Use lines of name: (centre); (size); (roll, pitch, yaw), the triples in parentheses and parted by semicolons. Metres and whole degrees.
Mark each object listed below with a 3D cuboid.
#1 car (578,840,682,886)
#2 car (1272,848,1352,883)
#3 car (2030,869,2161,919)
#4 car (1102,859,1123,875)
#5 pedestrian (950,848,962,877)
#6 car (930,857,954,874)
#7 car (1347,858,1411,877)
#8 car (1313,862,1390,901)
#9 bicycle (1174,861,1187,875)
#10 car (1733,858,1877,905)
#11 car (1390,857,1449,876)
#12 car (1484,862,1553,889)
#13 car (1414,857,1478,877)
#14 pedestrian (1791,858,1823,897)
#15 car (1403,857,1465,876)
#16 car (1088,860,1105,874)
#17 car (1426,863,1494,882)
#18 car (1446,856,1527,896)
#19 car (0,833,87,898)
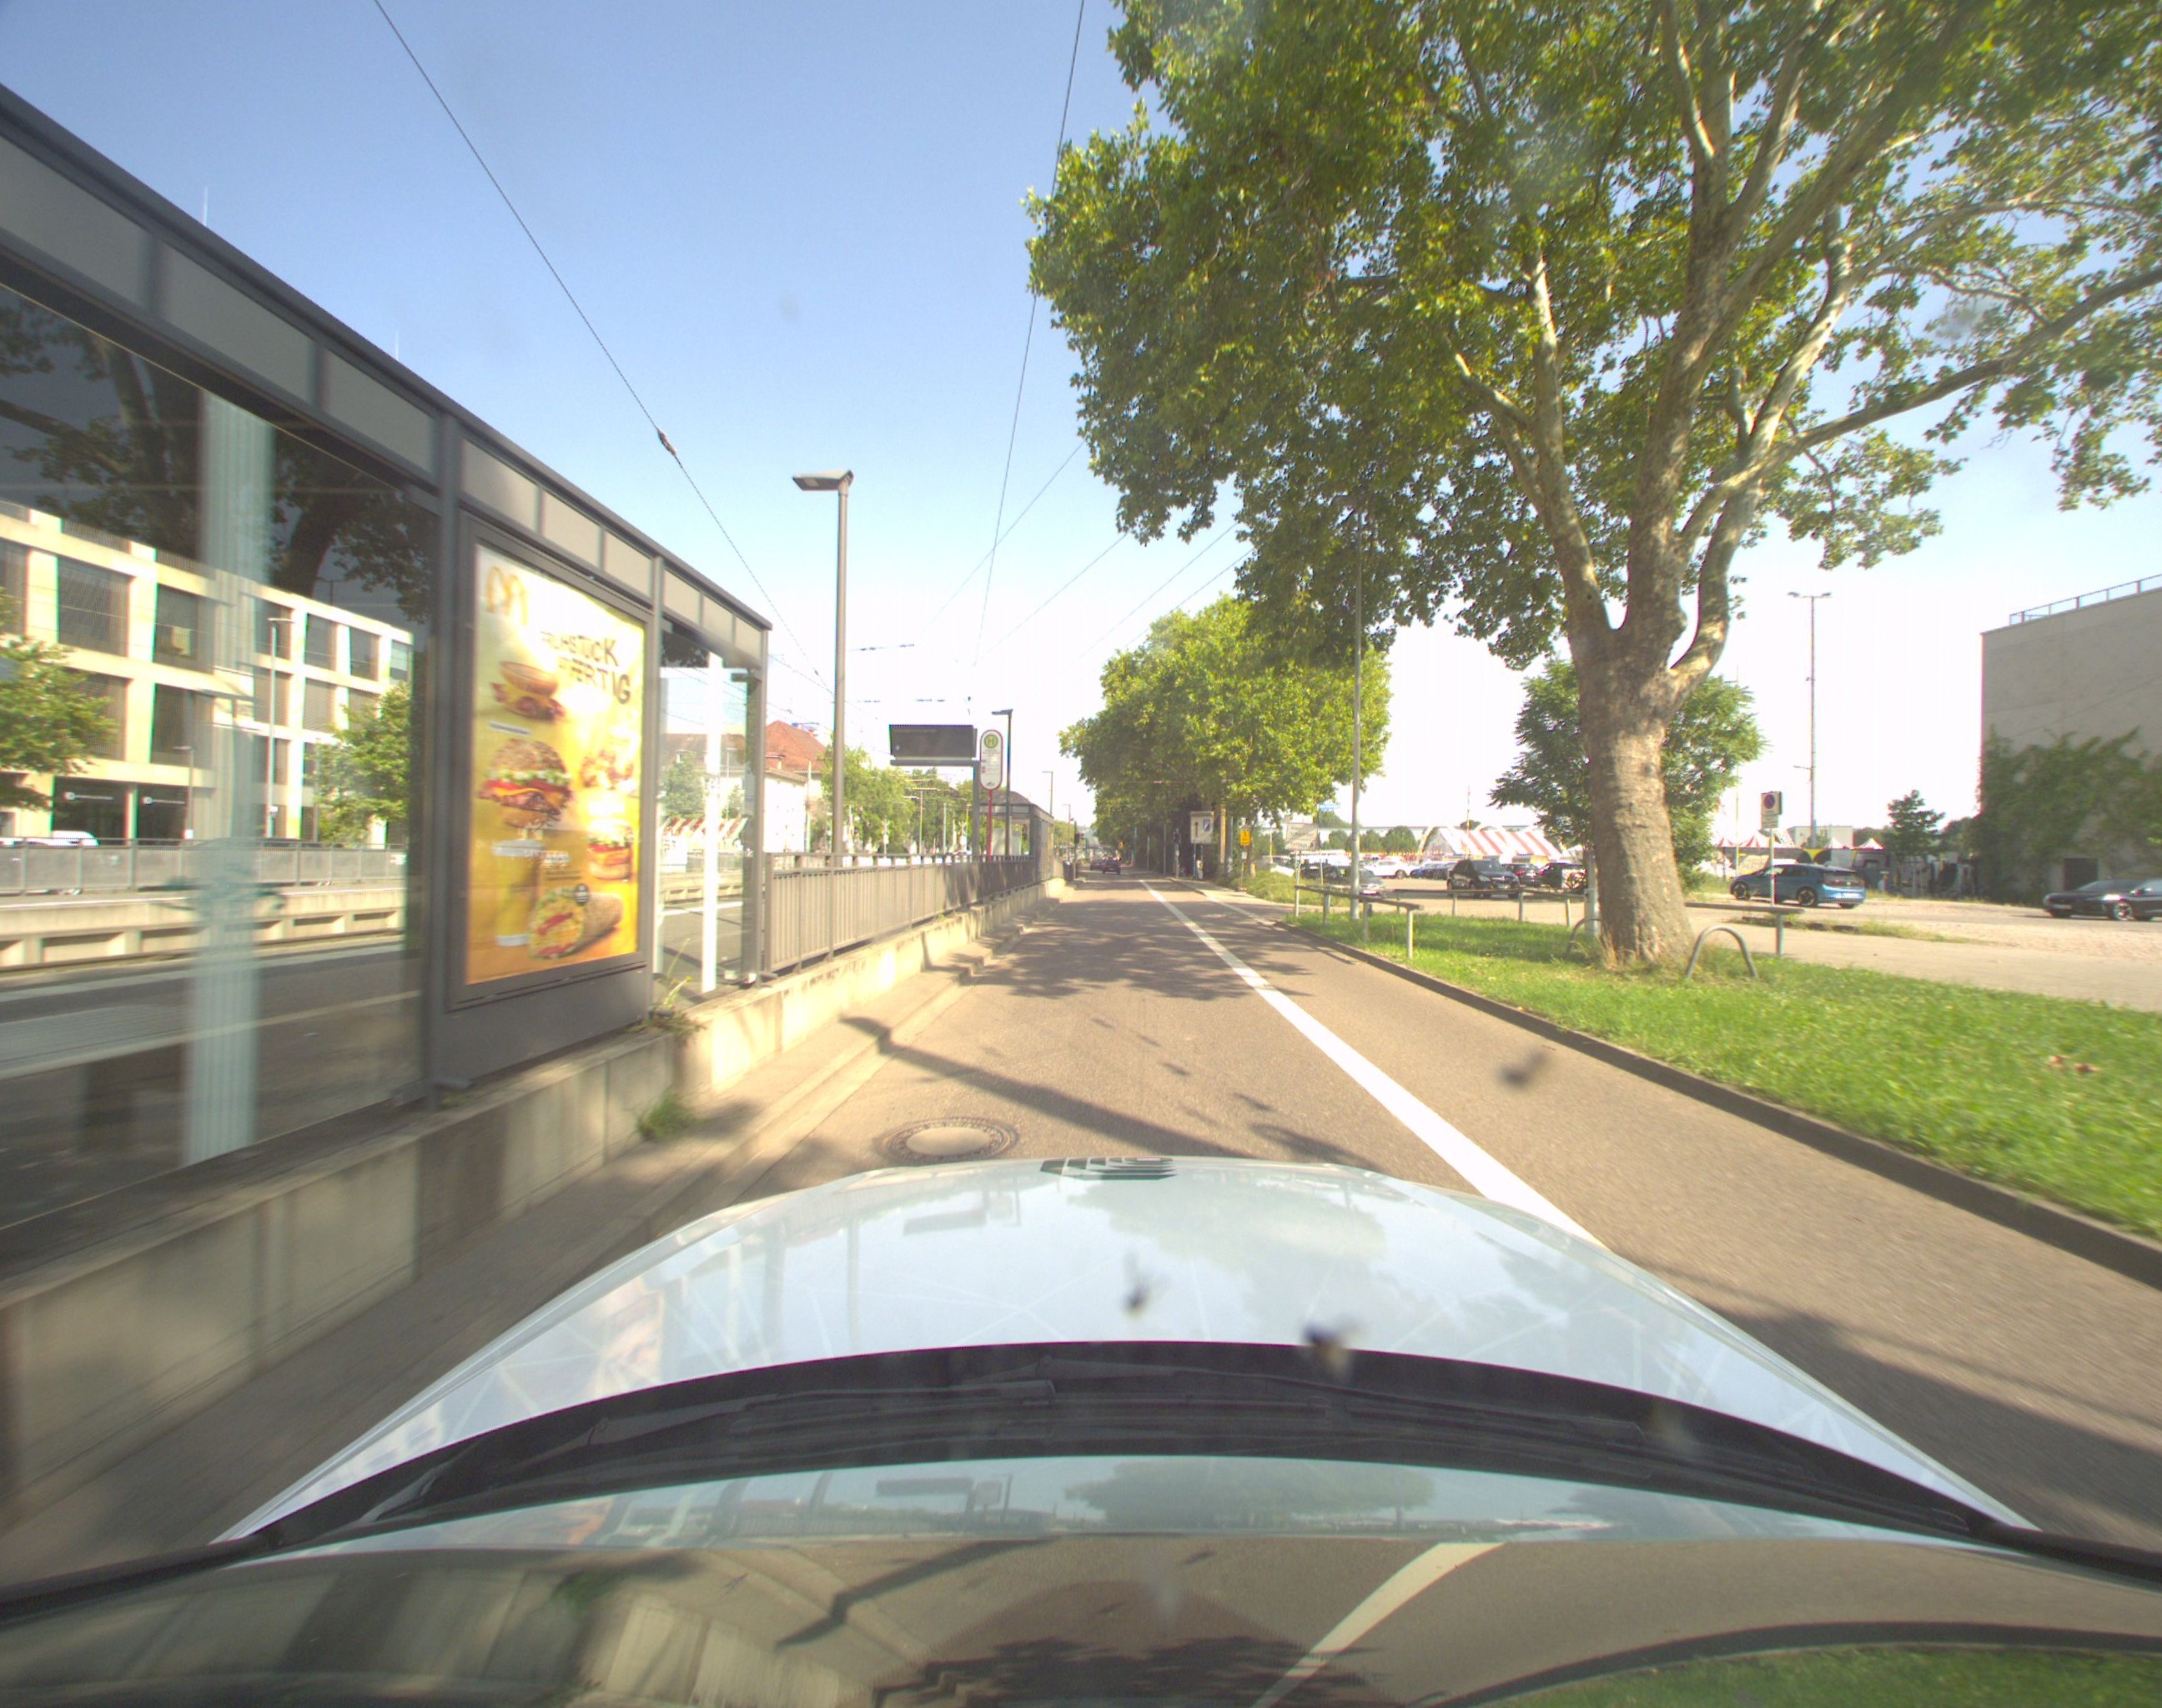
car: (-19.064, 0.407, 34.650); (1.985, 1.755, 4.002); (-2, -1, 3)
car: (13.083, 0.662, 46.376); (4.085, 1.918, 1.850); (-1, 0, 4)
car: (33.750, 1.284, 26.480); (3.772, 1.485, 1.746); (2, 0, -1)
car: (3.124, 1.275, 81.195); (1.901, 1.537, 4.000); (-1, 0, 1)
pedestrian: (-8.009, 0.563, 52.210); (0.707, 1.821, 0.771); (-1, -2, -8)
car: (-15.924, 1.287, 93.440); (1.986, 1.838, 4.001); (1, 0, 1)
car: (23.658, 1.088, 64.741); (4.330, 1.464, 1.947); (0, 0, -1)
car: (10.781, 1.051, 32.839); (1.721, 1.448, 4.552); (0, 0, 2)
bicycle: (7.579, 1.081, 61.917); (0.608, 1.022, 2.400); (1, 0, -2)
car: (26.993, 0.983, 30.547); (1.701, 1.575, 3.951); (2, 0, -4)
car: (29.529, 1.081, 71.125); (4.330, 1.464, 1.947); (1, -1, -1)
car: (24.905, 1.182, 46.489); (1.807, 1.396, 4.118); (1, 0, 1)
car: (29.272, 1.009, 65.418); (4.330, 1.464, 1.947); (1, -1, -1)
pedestrian: (31.330, 1.023, 35.157); (0.920, 1.643, 0.706); (-1, -2, 34)
car: (29.311, 0.998, 67.628); (4.330, 1.464, 1.947); (1, -1, -1)
car: (1.910, 1.560, 100.211); (1.966, 1.537, 4.000); (-3, 0, 1)
car: (29.288, 1.416, 62.981); (4.370, 1.464, 1.950); (0, 0, 5)
car: (16.901, 0.889, 34.119); (1.601, 1.575, 3.798); (0, 0, 2)
car: (-24.891, 0.267, 17.671); (1.705, 1.446, 4.007); (0, 0, 0)
